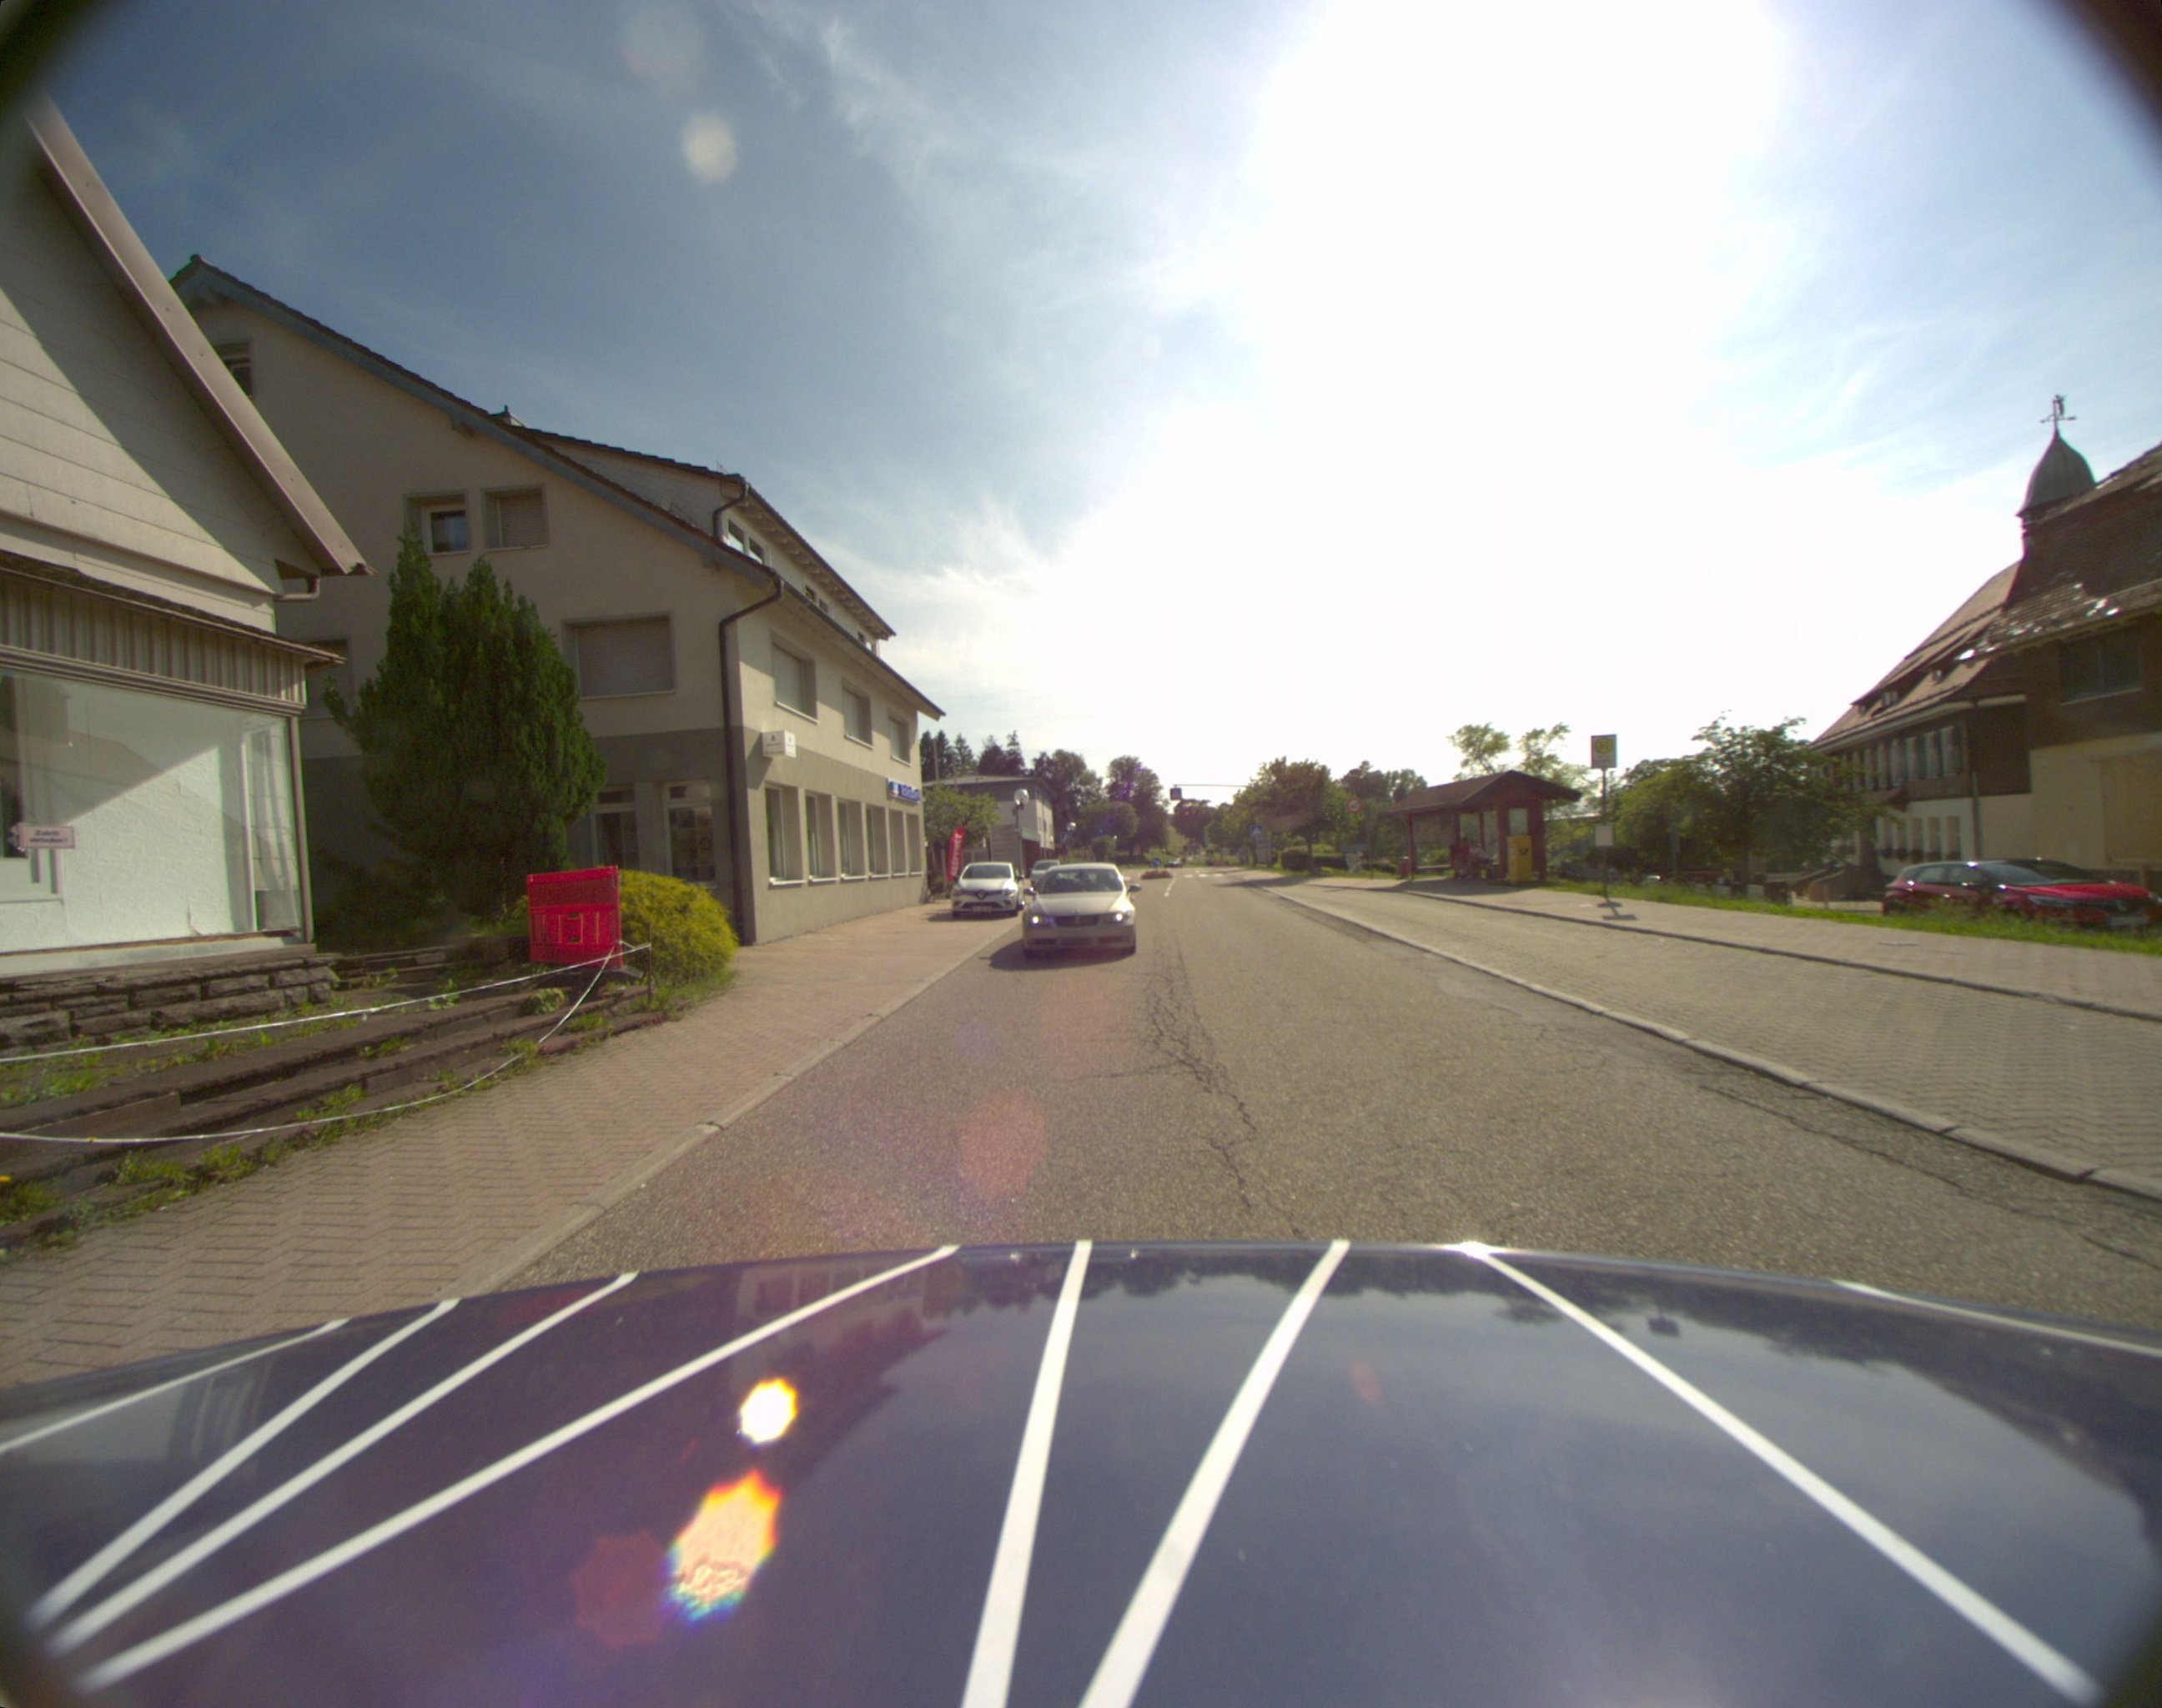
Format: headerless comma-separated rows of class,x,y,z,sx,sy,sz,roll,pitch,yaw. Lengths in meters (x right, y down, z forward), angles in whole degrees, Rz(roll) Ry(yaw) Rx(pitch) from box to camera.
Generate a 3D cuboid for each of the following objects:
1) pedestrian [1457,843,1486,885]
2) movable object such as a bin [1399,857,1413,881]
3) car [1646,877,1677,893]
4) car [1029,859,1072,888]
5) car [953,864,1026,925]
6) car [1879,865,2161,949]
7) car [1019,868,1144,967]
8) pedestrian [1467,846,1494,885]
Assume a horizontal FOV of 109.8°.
pedestrian,12.903,0.327,25.111,0.619,1.356,0.674,0,-1,2
movable object such as a bin,11.861,0.546,27.719,0.305,0.832,0.485,-1,1,1
car,59.952,3.169,78.532,1.565,1.630,2.976,-1,-1,17
car,-1.539,0.977,39.595,1.764,1.415,3.635,-1,0,6
car,-2.433,1.042,21.025,1.639,1.411,3.934,-2,0,-2
car,17.407,0.882,14.198,1.723,1.289,4.005,-1,0,18
car,0.105,0.993,13.609,1.838,1.360,4.582,-1,0,2
pedestrian,12.882,0.360,24.516,0.630,1.245,0.423,0,0,1
